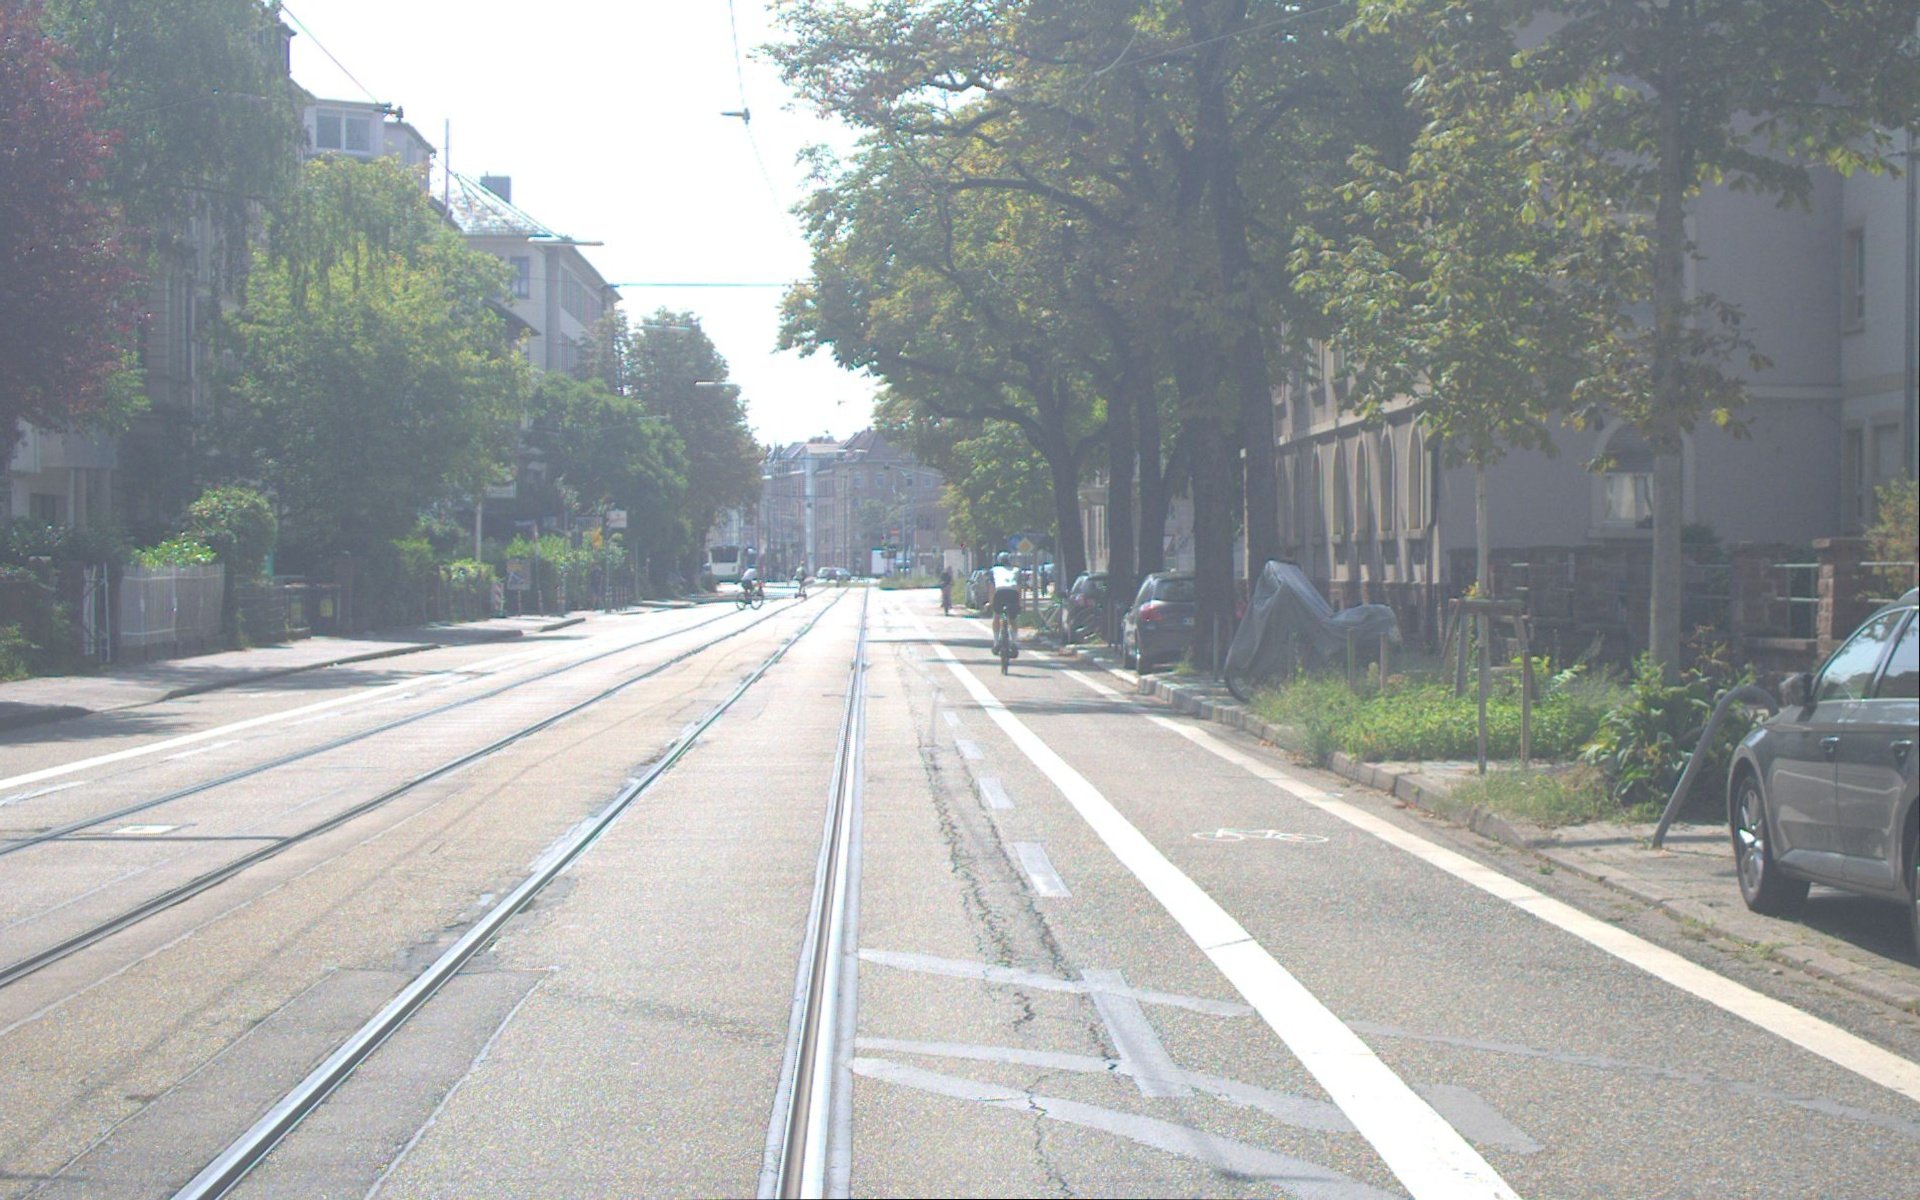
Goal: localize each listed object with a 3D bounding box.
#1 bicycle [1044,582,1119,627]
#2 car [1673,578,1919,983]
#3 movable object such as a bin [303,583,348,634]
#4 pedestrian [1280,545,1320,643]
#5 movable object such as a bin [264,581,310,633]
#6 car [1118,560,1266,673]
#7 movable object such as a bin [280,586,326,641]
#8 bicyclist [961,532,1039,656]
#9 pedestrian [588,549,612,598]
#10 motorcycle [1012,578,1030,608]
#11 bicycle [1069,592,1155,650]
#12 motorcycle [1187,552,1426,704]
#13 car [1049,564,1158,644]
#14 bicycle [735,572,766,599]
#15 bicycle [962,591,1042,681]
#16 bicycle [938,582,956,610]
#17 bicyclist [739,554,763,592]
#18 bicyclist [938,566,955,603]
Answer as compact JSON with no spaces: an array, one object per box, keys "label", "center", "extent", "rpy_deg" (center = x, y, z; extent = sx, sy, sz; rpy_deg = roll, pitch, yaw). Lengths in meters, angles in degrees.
[{"label":"bicycle","center":[2.827,0.100,79.877],"extent":[1.713,1.028,0.566],"rpy_deg":[0,0,0]},{"label":"car","center":[4.431,0.655,14.046],"extent":[1.892,1.472,4.841],"rpy_deg":[0,1,-2]},{"label":"movable object such as a bin","center":[-13.565,0.181,73.536],"extent":[0.786,1.072,0.803],"rpy_deg":[1,0,2]},{"label":"pedestrian","center":[6.554,-0.118,66.250],"extent":[0.706,1.885,0.714],"rpy_deg":[0,0,0]},{"label":"movable object such as a bin","center":[-14.382,0.145,73.506],"extent":[0.786,1.072,0.803],"rpy_deg":[1,0,2]},{"label":"car","center":[3.477,0.219,52.117],"extent":[1.840,1.527,4.115],"rpy_deg":[0,2,-2]},{"label":"movable object such as a bin","center":[-13.274,0.271,69.499],"extent":[0.786,1.072,0.755],"rpy_deg":[1,0,-3]},{"label":"bicyclist","center":[0.591,-0.089,50.973],"extent":[1.125,1.830,0.956],"rpy_deg":[0,0,-1]},{"label":"pedestrian","center":[-13.106,-0.954,125.163],"extent":[0.779,1.750,1.040],"rpy_deg":[-1,0,-1]},{"label":"motorcycle","center":[2.149,-0.250,121.800],"extent":[0.549,1.064,2.330],"rpy_deg":[0,0,-1]},{"label":"bicycle","center":[2.898,0.396,65.474],"extent":[1.606,1.100,0.398],"rpy_deg":[0,0,5]},{"label":"motorcycle","center":[3.655,0.313,36.431],"extent":[2.344,1.535,0.966],"rpy_deg":[-2,-2,40]},{"label":"car","center":[2.873,0.064,69.679],"extent":[1.840,1.527,4.780],"rpy_deg":[-1,0,-2]},{"label":"bicycle","center":[-7.736,-0.537,127.184],"extent":[0.759,0.987,2.297],"rpy_deg":[0,0,6]},{"label":"bicycle","center":[0.611,0.515,50.894],"extent":[1.148,1.265,2.712],"rpy_deg":[0,1,0]},{"label":"bicycle","center":[-0.446,-0.131,117.961],"extent":[0.588,0.936,2.172],"rpy_deg":[0,0,1]},{"label":"bicyclist","center":[-7.738,-0.998,127.127],"extent":[0.759,1.387,0.779],"rpy_deg":[0,0,7]},{"label":"bicyclist","center":[-0.451,-0.542,117.869],"extent":[0.579,1.274,0.471],"rpy_deg":[0,0,1]}]
